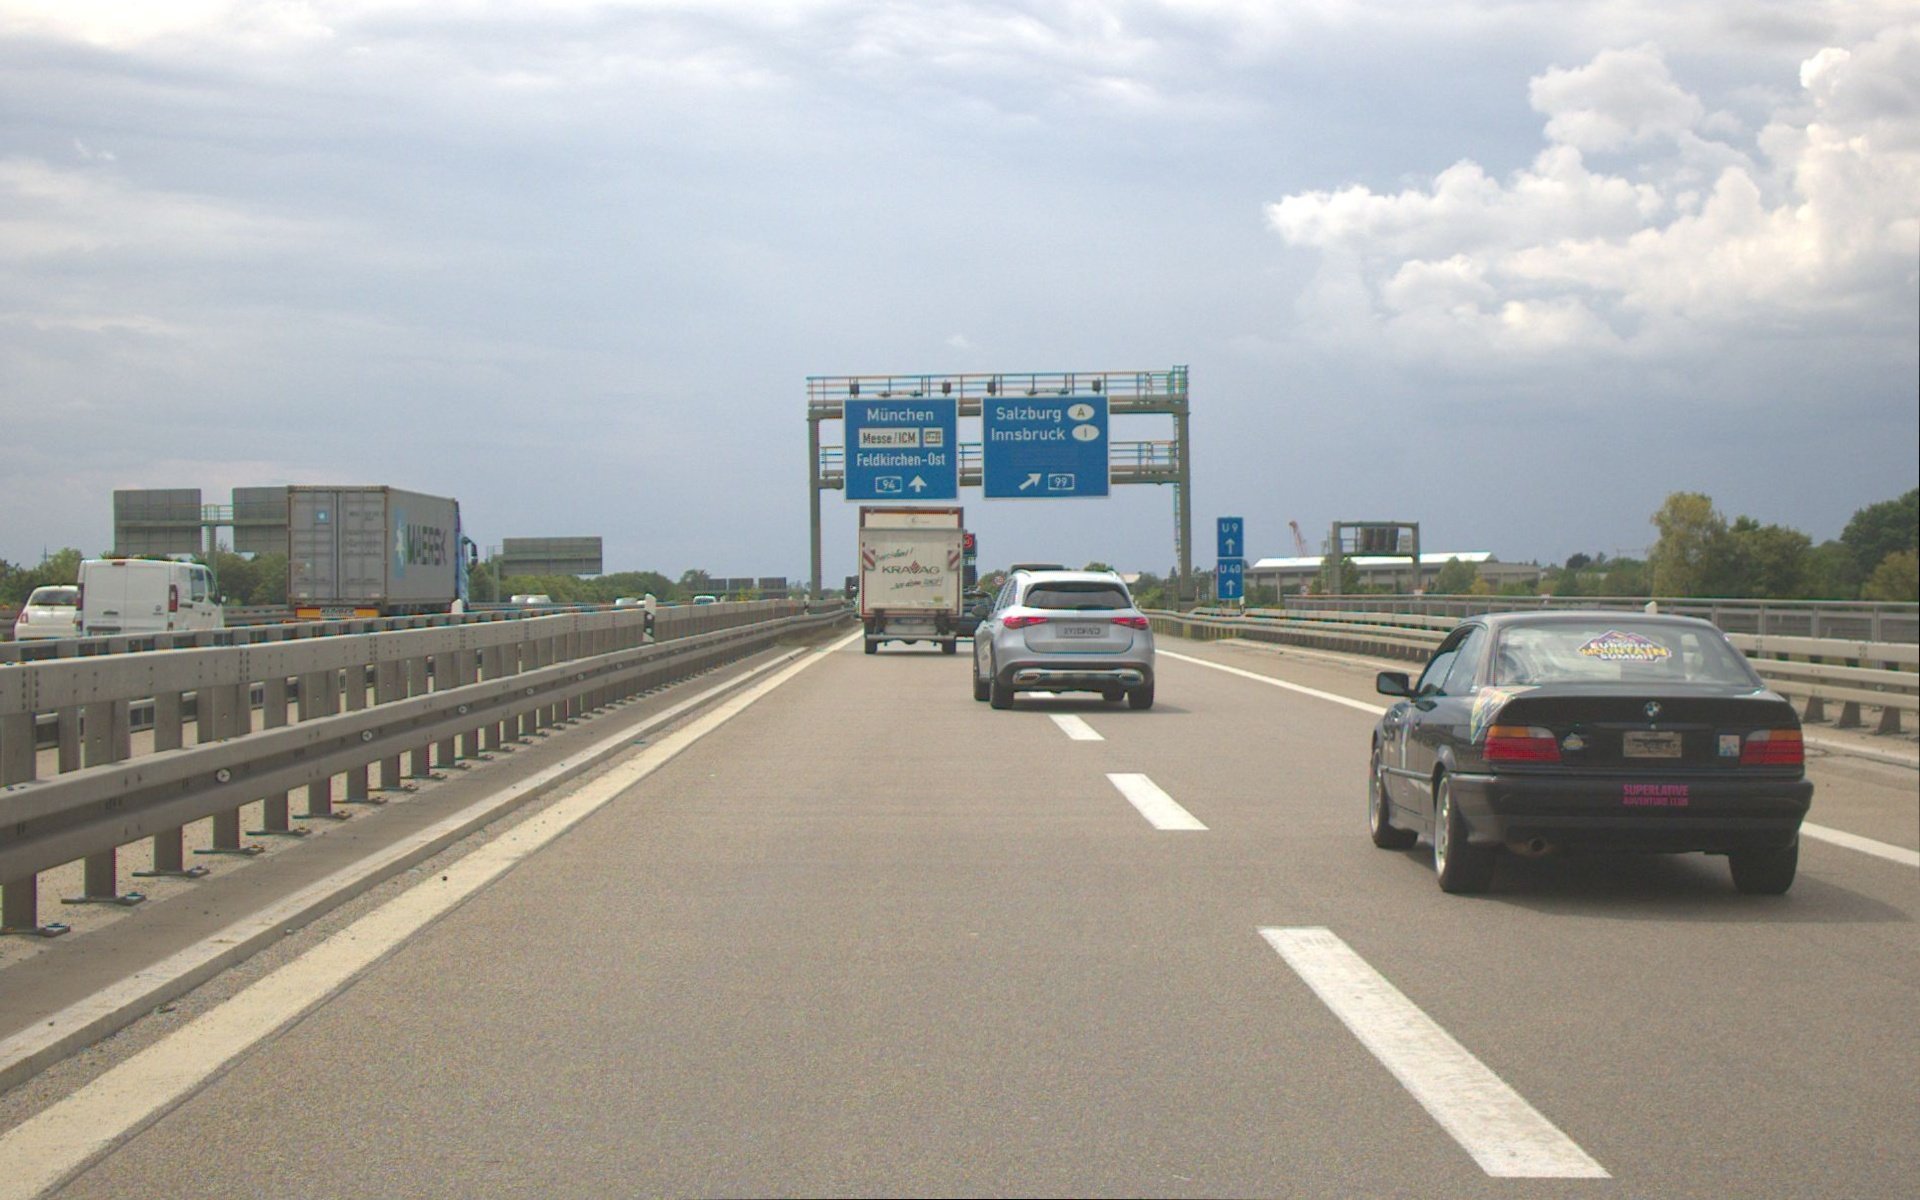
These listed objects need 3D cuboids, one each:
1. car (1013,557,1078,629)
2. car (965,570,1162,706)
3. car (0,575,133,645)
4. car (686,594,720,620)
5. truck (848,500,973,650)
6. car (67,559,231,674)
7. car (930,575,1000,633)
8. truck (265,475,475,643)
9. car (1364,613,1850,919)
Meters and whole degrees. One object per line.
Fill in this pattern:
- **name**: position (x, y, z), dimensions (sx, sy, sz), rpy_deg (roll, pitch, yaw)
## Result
- **car**: position (2.755, -0.255, 111.842), dimensions (1.906, 2.254, 4.649), rpy_deg (1, 1, -1)
- **car**: position (1.175, 0.417, 40.937), dimensions (1.819, 1.509, 4.001), rpy_deg (1, 1, -6)
- **car**: position (-19.138, 0.200, 73.696), dimensions (1.798, 1.415, 4.000), rpy_deg (1, 1, 1)
- **car**: position (-16.090, 0.446, 215.261), dimensions (1.828, 1.557, 4.000), rpy_deg (0, 1, 1)
- **truck**: position (-1.074, -0.475, 76.113), dimensions (2.569, 3.115, 8.634), rpy_deg (1, -1, -1)
- **car**: position (-14.782, 0.271, 62.882), dimensions (1.993, 2.007, 4.374), rpy_deg (1, 1, 0)
- **car**: position (0.128, 0.086, 96.543), dimensions (1.884, 1.546, 4.000), rpy_deg (1, 1, -1)
- **truck**: position (-15.315, -1.094, 90.697), dimensions (3.183, 4.005, 16.076), rpy_deg (1, 1, -2)
- **car**: position (3.145, 0.749, 17.539), dimensions (1.704, 1.277, 4.366), rpy_deg (1, 1, 1)
